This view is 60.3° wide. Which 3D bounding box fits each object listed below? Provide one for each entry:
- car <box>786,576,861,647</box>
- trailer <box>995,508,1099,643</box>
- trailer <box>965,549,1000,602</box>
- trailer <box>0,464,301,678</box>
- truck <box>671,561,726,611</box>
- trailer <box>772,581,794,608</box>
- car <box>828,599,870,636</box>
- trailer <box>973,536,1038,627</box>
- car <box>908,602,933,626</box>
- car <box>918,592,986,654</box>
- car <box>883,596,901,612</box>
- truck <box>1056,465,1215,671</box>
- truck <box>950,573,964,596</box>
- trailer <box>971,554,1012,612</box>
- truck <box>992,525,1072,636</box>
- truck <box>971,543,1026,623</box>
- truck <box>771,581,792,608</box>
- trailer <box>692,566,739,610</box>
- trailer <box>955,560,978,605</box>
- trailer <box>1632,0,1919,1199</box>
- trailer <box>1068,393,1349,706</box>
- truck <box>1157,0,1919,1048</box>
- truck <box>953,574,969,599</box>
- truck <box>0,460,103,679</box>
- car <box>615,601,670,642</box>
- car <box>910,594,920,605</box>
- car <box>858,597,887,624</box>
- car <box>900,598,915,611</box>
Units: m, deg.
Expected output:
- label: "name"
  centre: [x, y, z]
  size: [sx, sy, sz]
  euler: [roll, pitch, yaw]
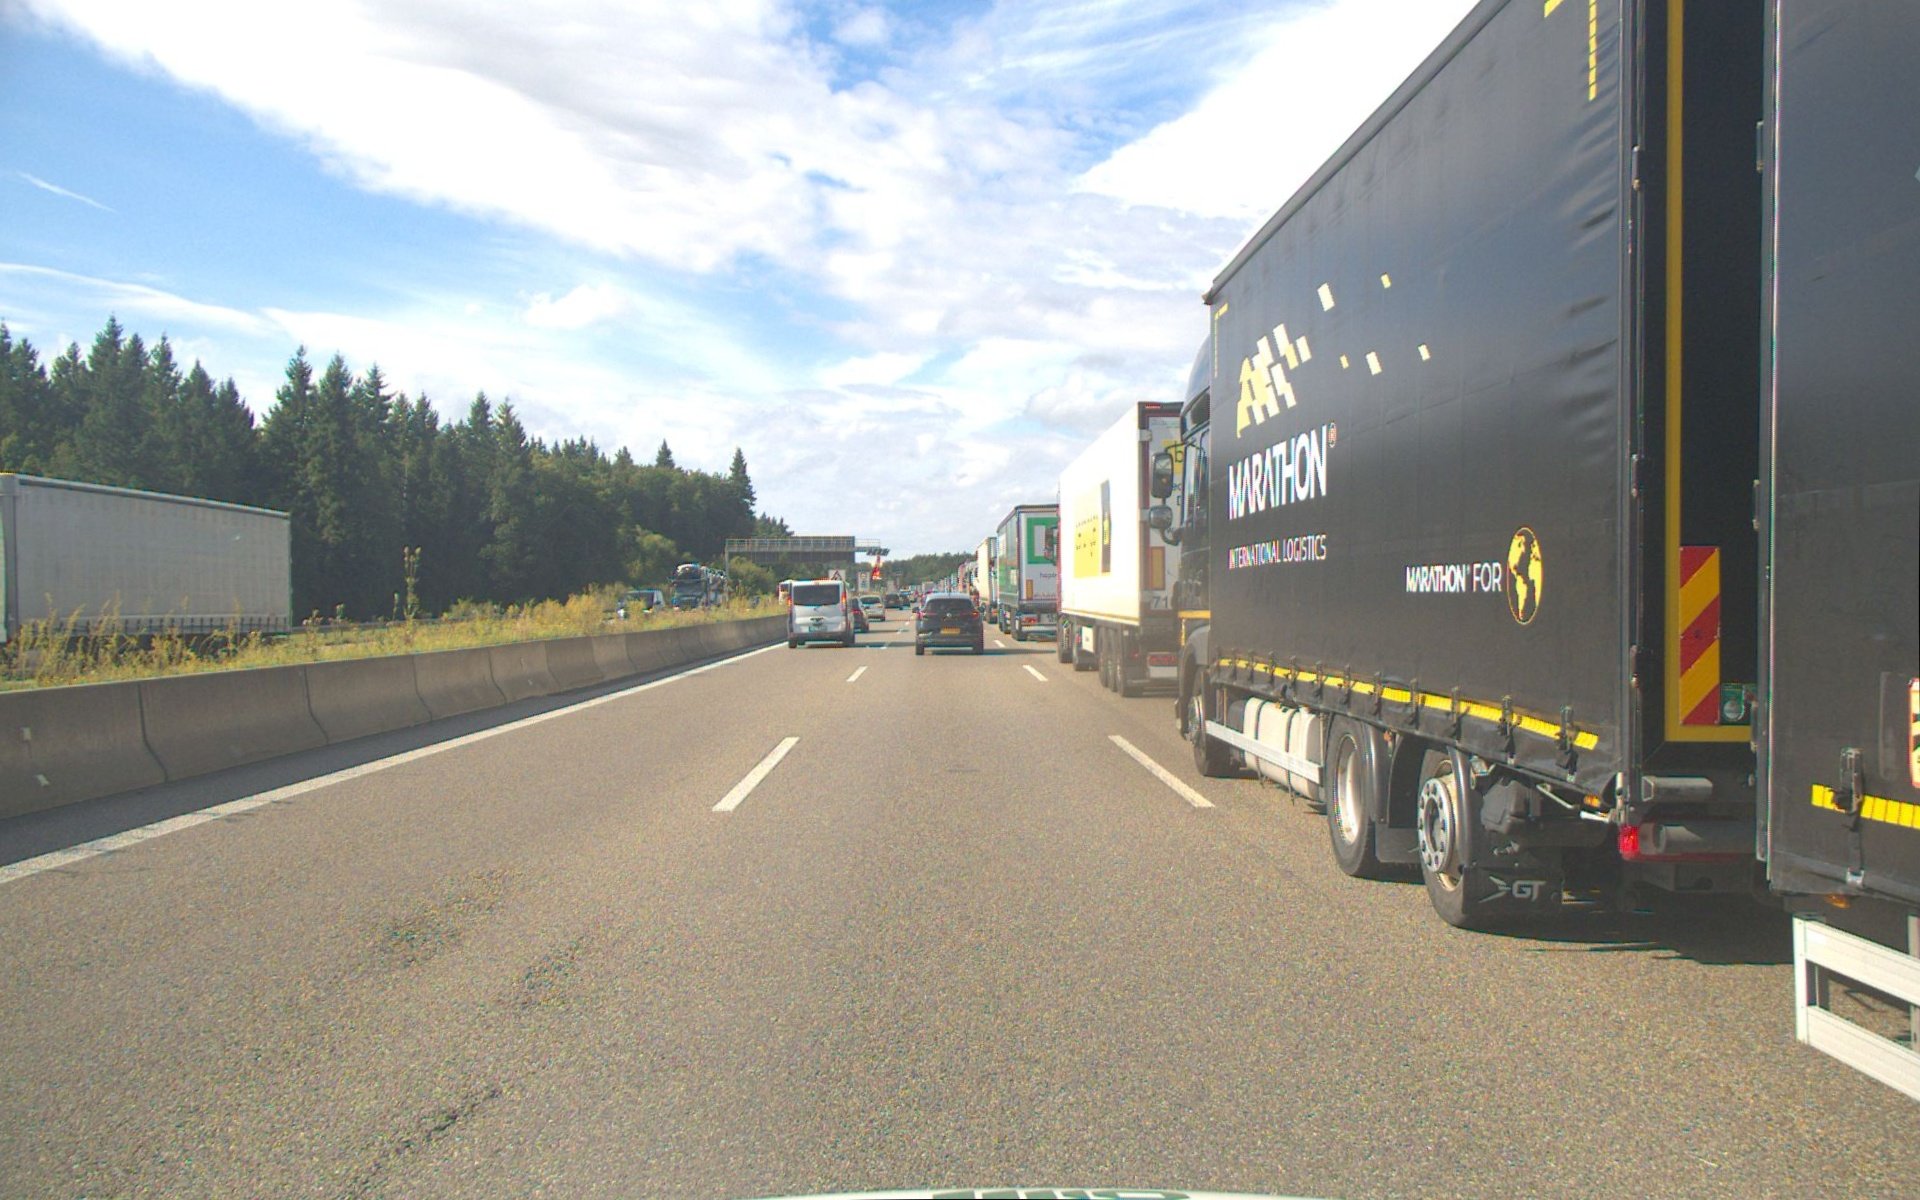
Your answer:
- label: "car"
  centre: [-4.180, 0.350, 51.341]
  size: [1.893, 2.013, 5.097]
  euler: [2, 0, -1]
- label: "trailer"
  centre: [2.712, -0.710, 55.512]
  size: [2.607, 3.936, 13.392]
  euler: [-1, 0, -1]
- label: "trailer"
  centre: [1.848, -1.994, 141.667]
  size: [2.745, 4.318, 11.056]
  euler: [-2, 0, 0]
- label: "trailer"
  centre: [-19.235, -0.540, 38.191]
  size: [2.774, 4.062, 13.546]
  euler: [0, 0, -1]
- label: "truck"
  centre: [-20.666, -1.043, 131.457]
  size: [2.774, 3.753, 11.129]
  euler: [-1, 0, -1]
- label: "trailer"
  centre: [-22.779, -0.692, 213.090]
  size: [2.275, 3.342, 10.869]
  euler: [0, 0, -3]
- label: "car"
  centre: [-4.570, 0.704, 68.398]
  size: [1.469, 1.420, 3.475]
  euler: [2, 0, -1]
- label: "trailer"
  centre: [2.132, -0.890, 82.767]
  size: [2.648, 4.153, 12.942]
  euler: [-2, 0, -1]
- label: "car"
  centre: [-2.567, 0.890, 106.511]
  size: [1.549, 1.420, 3.206]
  euler: [2, 0, -2]
- label: "car"
  centre: [-0.228, 0.582, 43.539]
  size: [1.662, 1.509, 4.159]
  euler: [2, 0, -1]
- label: "car"
  centre: [-5.963, 0.339, 145.264]
  size: [1.406, 1.333, 3.532]
  euler: [2, 0, -1]
- label: "truck"
  centre: [3.586, -0.616, 35.089]
  size: [2.744, 4.008, 5.825]
  euler: [0, 0, 0]
- label: "truck"
  centre: [-0.430, -2.217, 237.086]
  size: [1.953, 3.105, 4.981]
  euler: [2, 0, 0]
- label: "trailer"
  centre: [2.084, -1.092, 112.753]
  size: [2.489, 3.717, 10.625]
  euler: [-1, 0, 0]
- label: "truck"
  centre: [2.636, -0.685, 62.630]
  size: [2.593, 3.936, 6.995]
  euler: [-1, 0, -1]
- label: "truck"
  centre: [2.049, -0.882, 89.816]
  size: [2.653, 4.130, 6.360]
  euler: [-1, 0, -1]
- label: "truck"
  centre: [-22.543, -0.666, 208.797]
  size: [2.271, 3.331, 6.101]
  euler: [0, 0, -3]
- label: "trailer"
  centre: [-20.855, -0.981, 141.514]
  size: [2.742, 3.590, 8.951]
  euler: [-1, 0, -1]
- label: "trailer"
  centre: [0.604, -1.696, 164.624]
  size: [2.106, 4.333, 8.439]
  euler: [-1, 0, 0]
- label: "trailer"
  centre: [3.546, -0.528, 0.914]
  size: [2.661, 4.030, 8.709]
  euler: [0, 1, -1]
- label: "trailer"
  centre: [3.606, -0.630, 27.715]
  size: [2.734, 4.008, 13.068]
  euler: [0, 0, 0]
- label: "truck"
  centre: [3.342, -0.620, 10.386]
  size: [2.685, 4.109, 10.199]
  euler: [1, 0, -2]
- label: "truck"
  centre: [0.085, -1.697, 210.144]
  size: [1.953, 2.983, 4.981]
  euler: [2, 0, 0]
- label: "truck"
  centre: [-19.142, -0.564, 31.375]
  size: [2.762, 4.045, 5.832]
  euler: [0, 0, -1]
- label: "car"
  centre: [-16.014, 1.064, 83.636]
  size: [1.840, 1.909, 4.489]
  euler: [2, 0, 0]
- label: "car"
  centre: [-6.153, -0.066, 225.456]
  size: [1.333, 1.324, 3.084]
  euler: [2, 0, -1]
- label: "car"
  centre: [-4.970, 0.586, 94.041]
  size: [1.469, 1.420, 3.475]
  euler: [2, 0, -1]
- label: "car"
  centre: [-5.327, 0.450, 167.572]
  size: [1.406, 1.333, 3.532]
  euler: [2, 0, -1]
